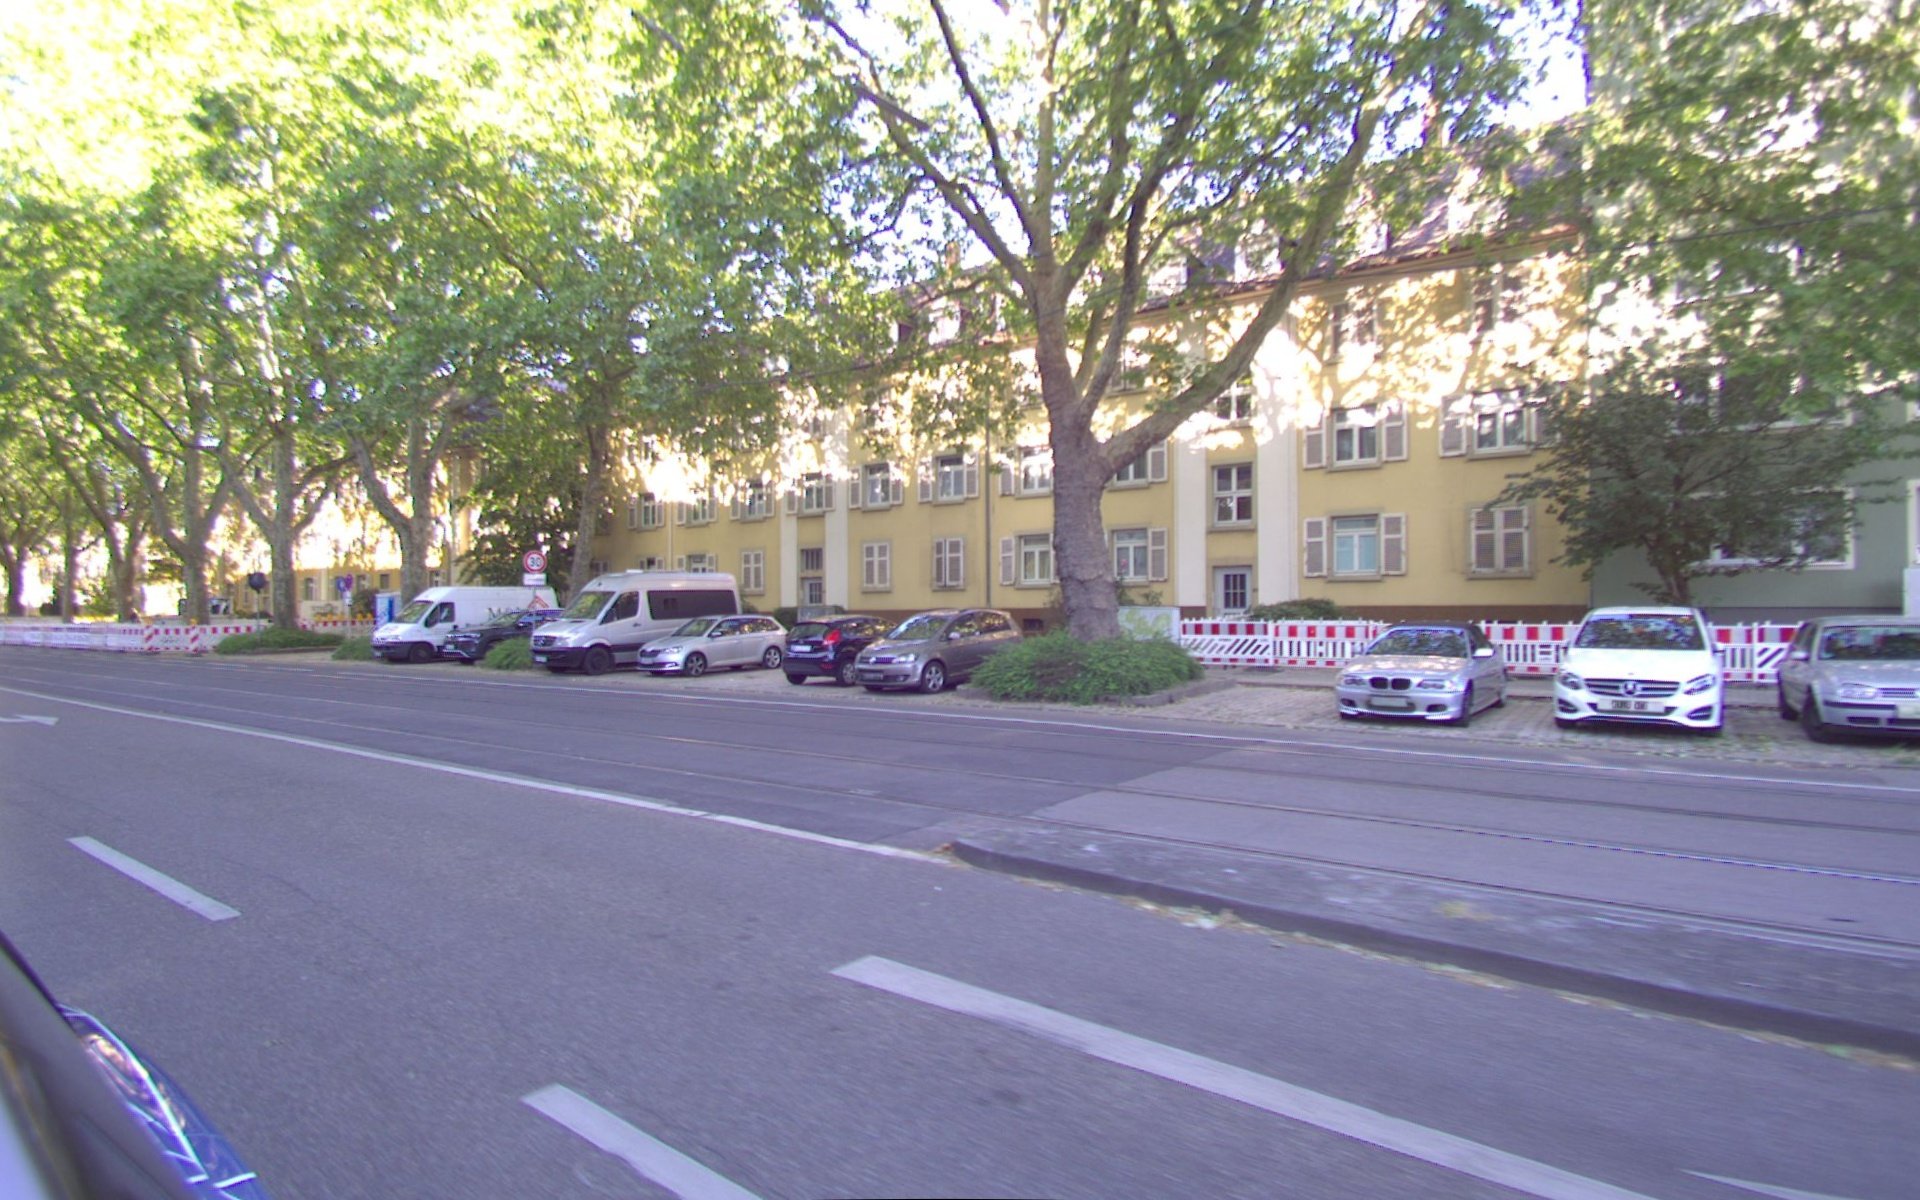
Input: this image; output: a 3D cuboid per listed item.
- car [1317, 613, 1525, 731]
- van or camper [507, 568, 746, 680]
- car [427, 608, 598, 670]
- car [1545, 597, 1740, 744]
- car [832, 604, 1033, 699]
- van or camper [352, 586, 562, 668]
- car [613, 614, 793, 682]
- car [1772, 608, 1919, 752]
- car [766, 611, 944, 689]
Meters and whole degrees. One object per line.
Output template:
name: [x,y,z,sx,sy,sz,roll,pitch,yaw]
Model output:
car: [6.853,0.929,14.826,1.843,1.379,4.030,0,1,39]
van or camper: [-8.677,0.529,26.928,2.153,2.668,5.860,0,1,38]
car: [-13.514,1.126,30.766,1.692,1.645,4.484,0,1,39]
car: [9.263,0.790,13.590,1.843,1.624,4.030,0,1,39]
car: [-0.450,0.925,20.139,1.843,1.631,4.030,0,1,39]
van or camper: [-16.073,0.751,32.671,2.153,2.403,5.694,0,1,38]
car: [-6.360,1.131,25.455,1.692,1.457,4.223,0,1,39]
car: [11.184,0.853,12.231,1.699,1.427,3.956,0,1,33]
car: [-2.208,1.012,22.171,1.692,1.457,3.813,0,1,39]
